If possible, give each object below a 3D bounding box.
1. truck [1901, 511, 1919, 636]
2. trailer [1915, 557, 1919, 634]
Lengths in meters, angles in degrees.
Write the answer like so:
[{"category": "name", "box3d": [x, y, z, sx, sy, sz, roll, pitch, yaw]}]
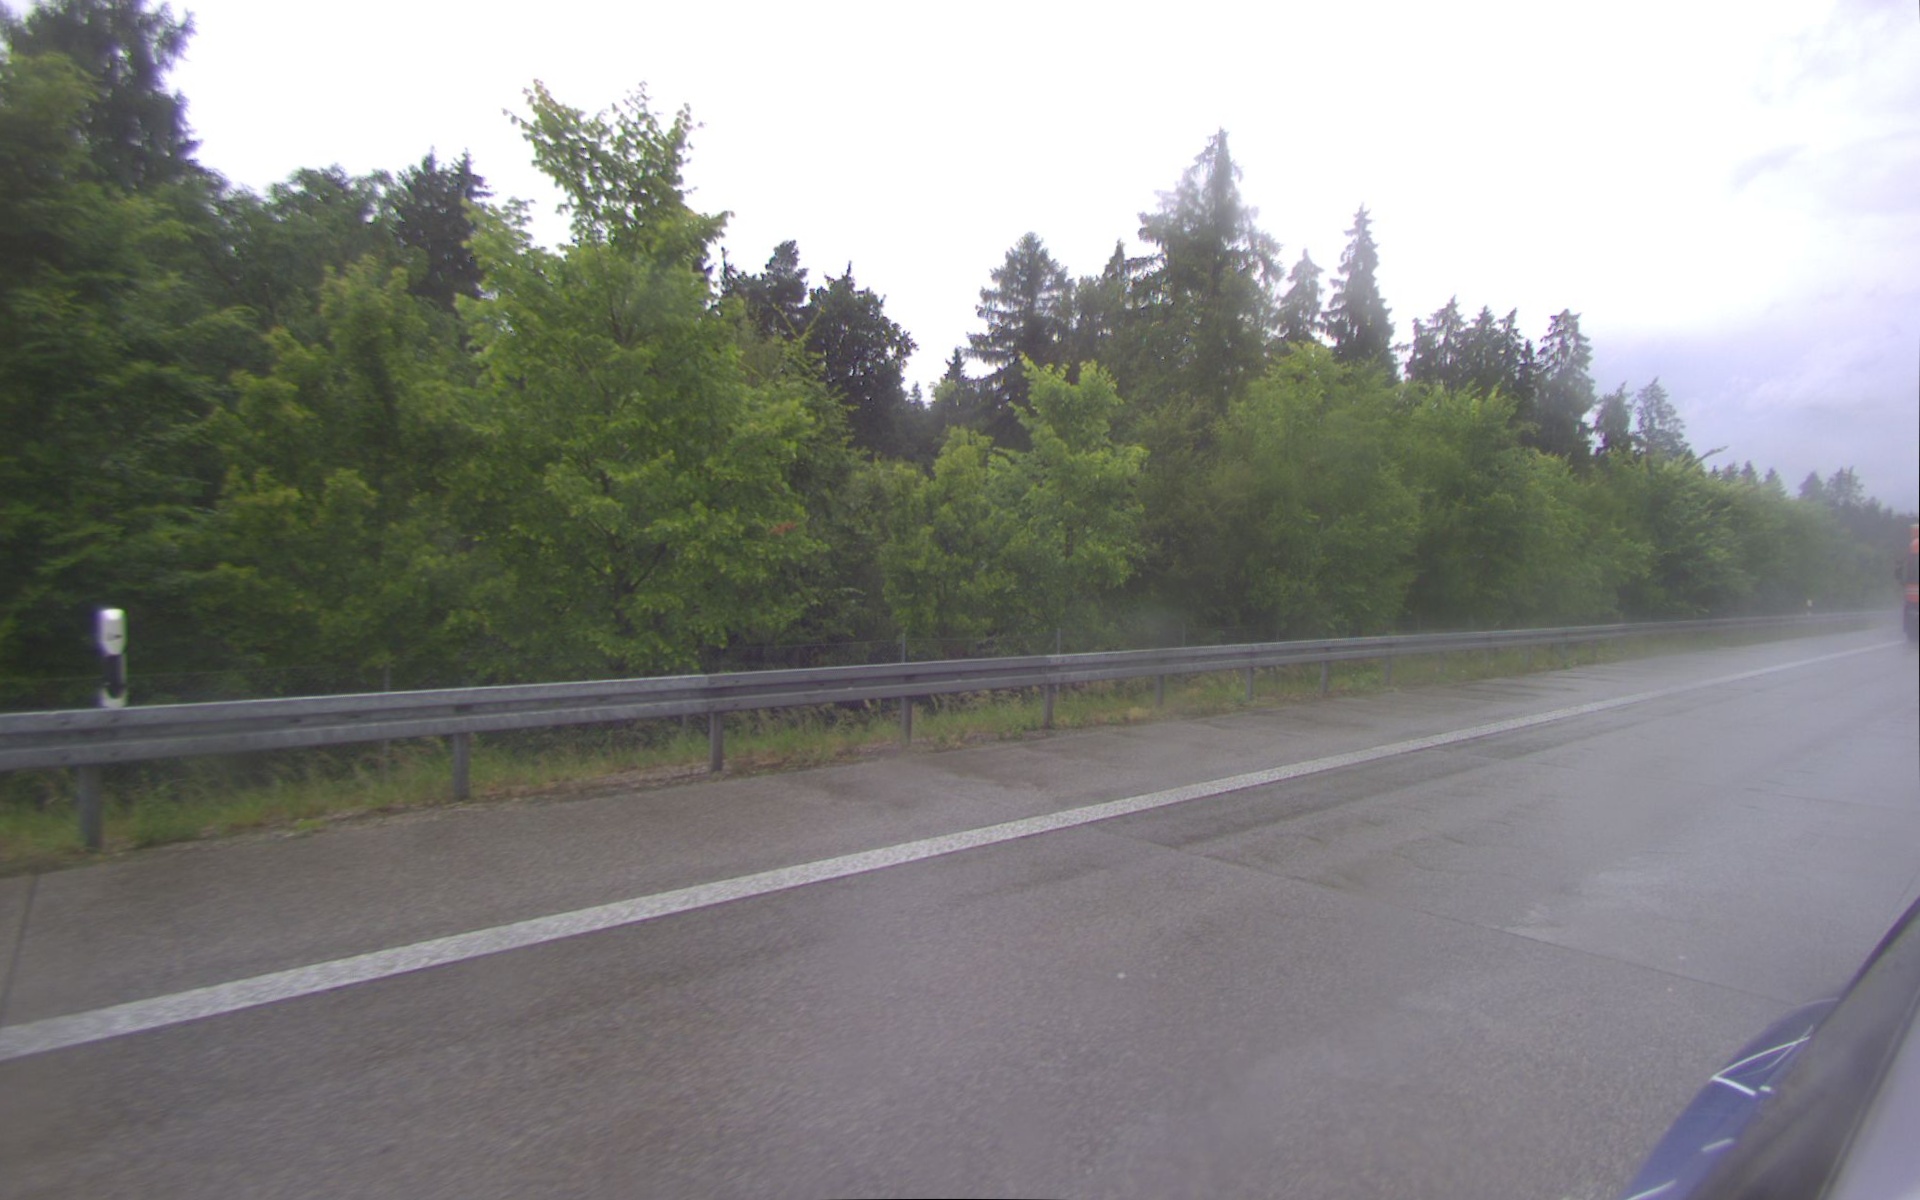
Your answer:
[{"category": "truck", "box3d": [34.639, -0.807, 34.675, 5.342, 4.138, 2.765, 1, 3, -41]}, {"category": "trailer", "box3d": [40.164, -0.779, 39.507, 12.777, 4.207, 2.801, 0, 3, -41]}]
